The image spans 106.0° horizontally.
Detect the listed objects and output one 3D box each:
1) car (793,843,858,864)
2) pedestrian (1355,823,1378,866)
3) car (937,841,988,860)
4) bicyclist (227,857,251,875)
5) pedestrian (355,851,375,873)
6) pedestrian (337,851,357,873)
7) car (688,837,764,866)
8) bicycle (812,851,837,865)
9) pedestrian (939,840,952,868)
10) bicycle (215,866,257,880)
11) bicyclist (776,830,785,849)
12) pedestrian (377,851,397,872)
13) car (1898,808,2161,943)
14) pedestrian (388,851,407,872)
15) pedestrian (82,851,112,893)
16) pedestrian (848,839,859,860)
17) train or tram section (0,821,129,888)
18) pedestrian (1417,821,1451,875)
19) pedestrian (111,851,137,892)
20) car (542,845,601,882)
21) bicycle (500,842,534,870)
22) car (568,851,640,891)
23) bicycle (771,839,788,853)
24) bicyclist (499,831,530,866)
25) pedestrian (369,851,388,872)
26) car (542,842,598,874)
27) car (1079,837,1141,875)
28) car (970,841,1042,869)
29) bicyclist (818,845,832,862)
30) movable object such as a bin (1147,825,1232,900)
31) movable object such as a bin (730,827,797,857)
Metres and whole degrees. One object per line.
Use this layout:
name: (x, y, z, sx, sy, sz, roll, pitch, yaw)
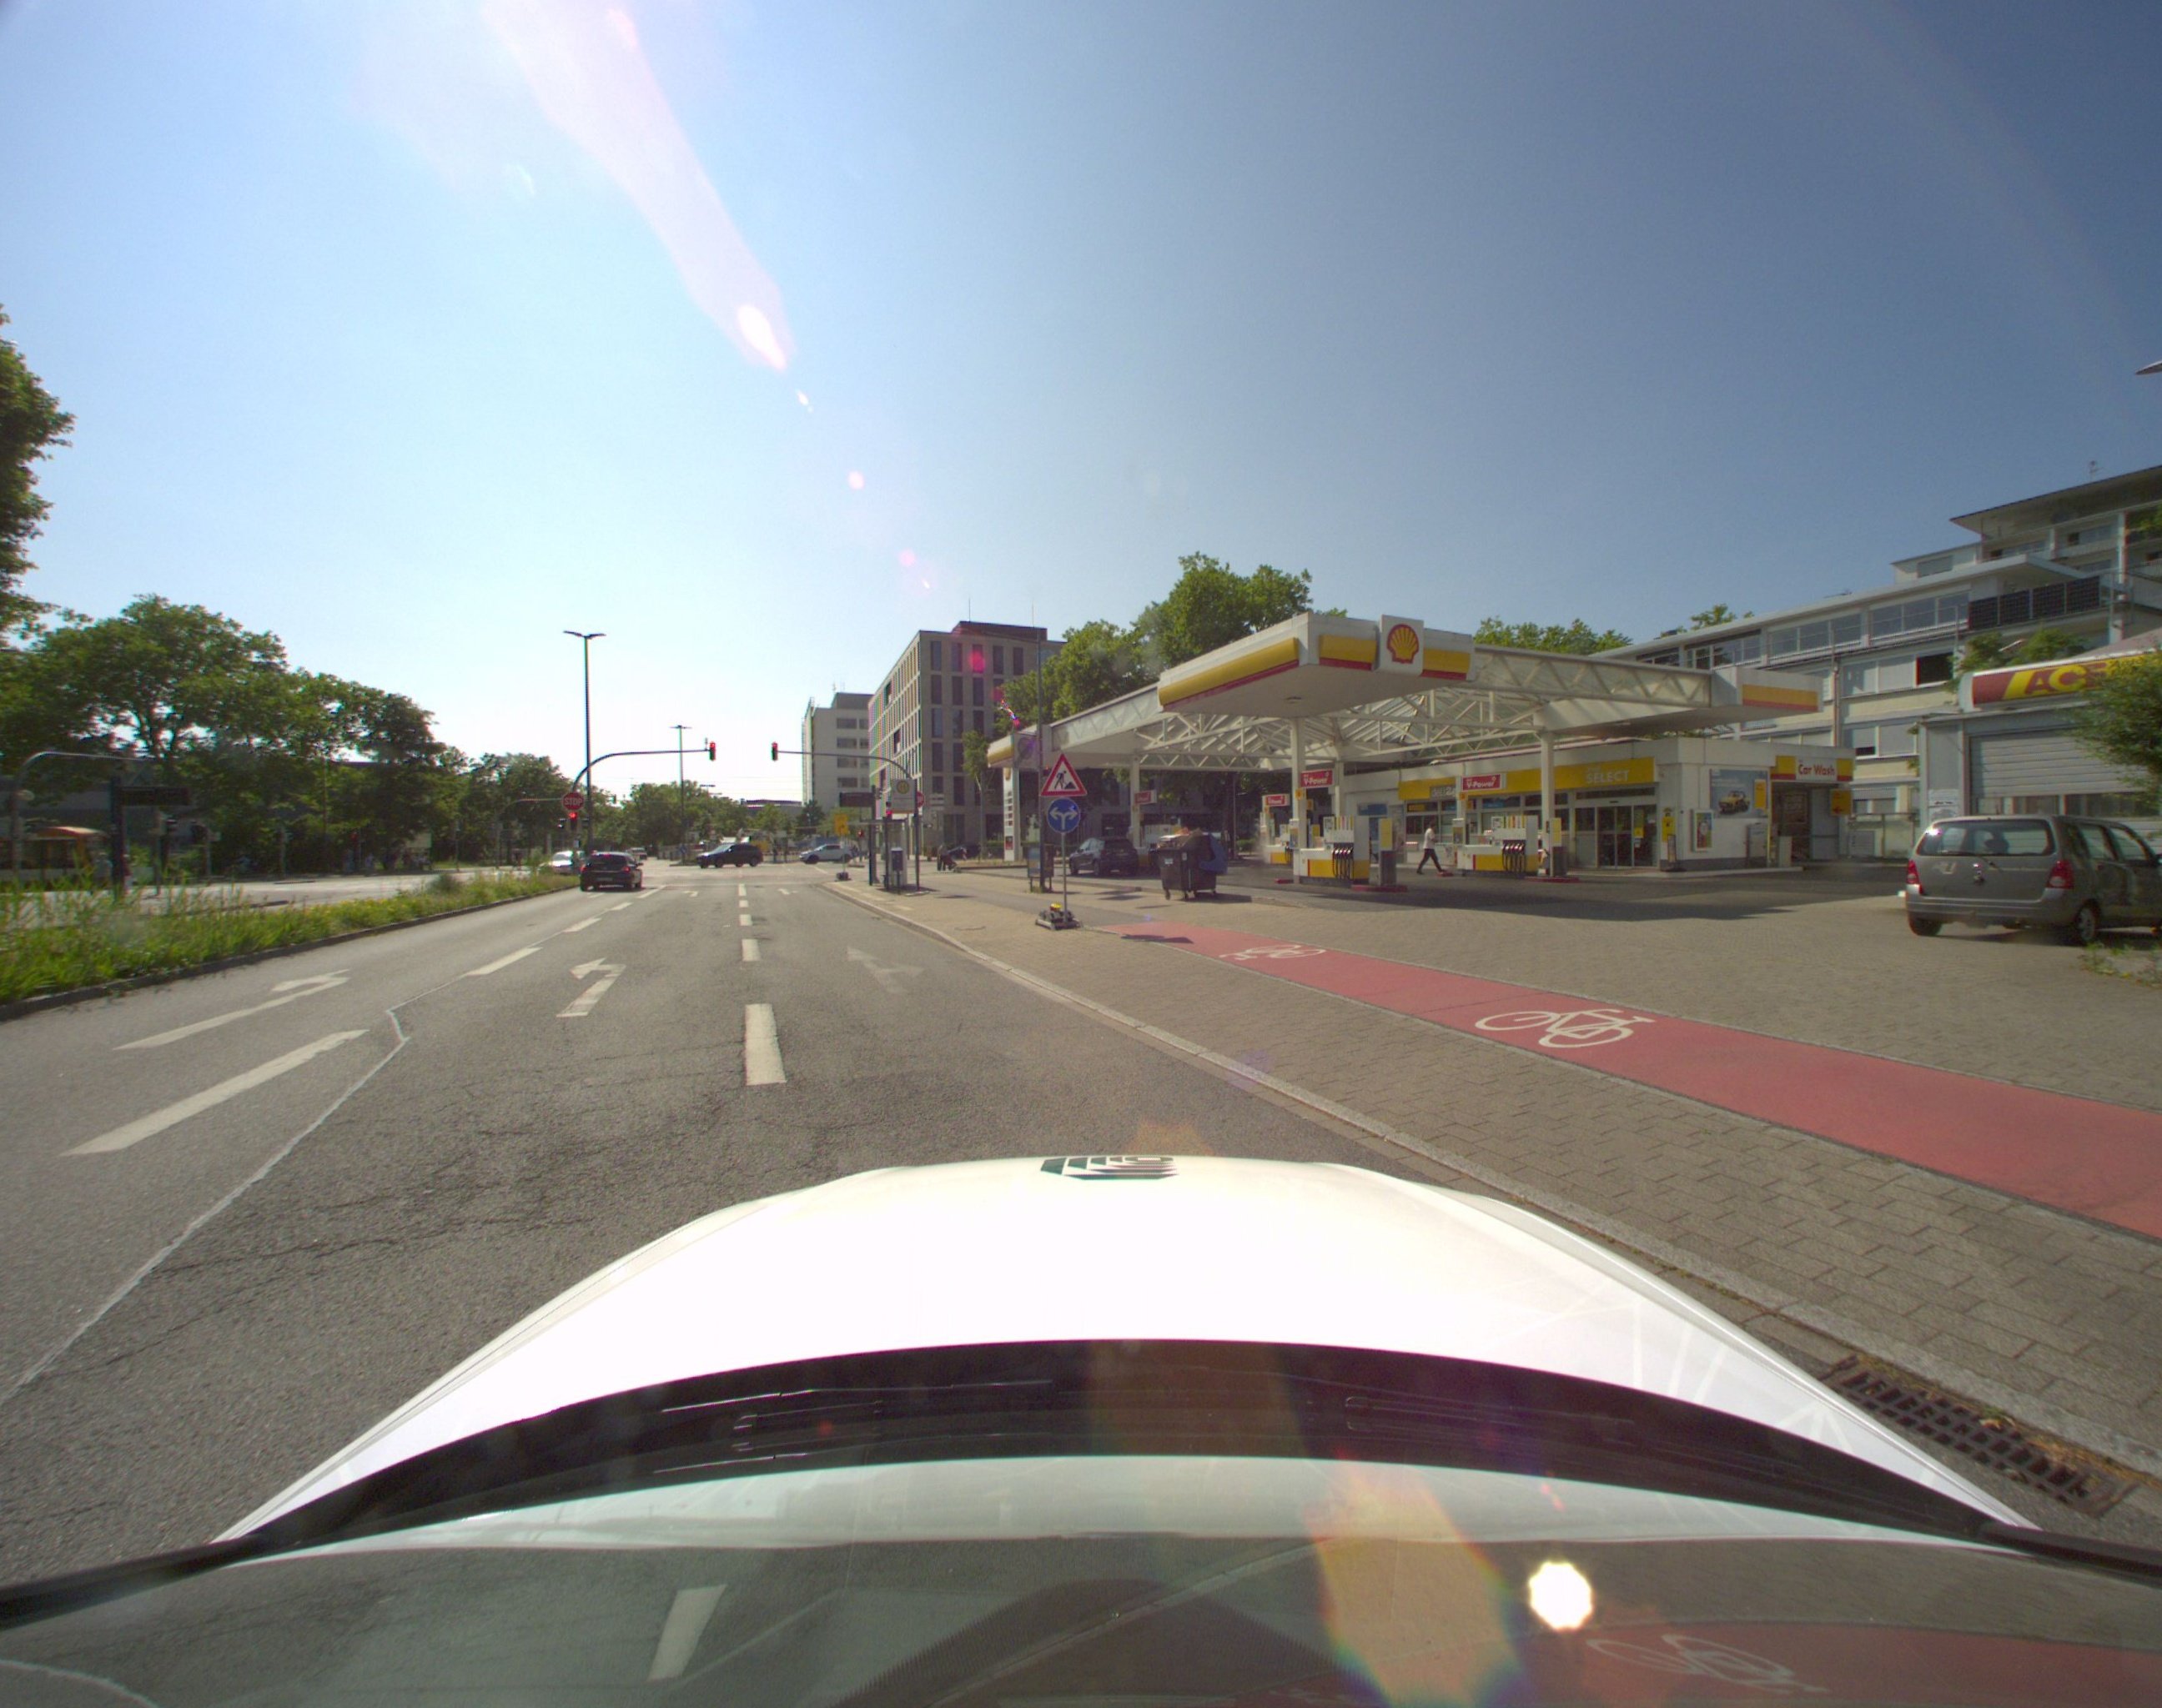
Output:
car: (-21.149, -0.035, 67.397, 4.881, 1.636, 1.982, -1, 1, -28)
pedestrian: (12.289, -0.399, 35.097, 0.674, 1.821, 0.627, -1, 0, -17)
car: (-10.546, -0.307, 72.724, 4.129, 1.638, 1.985, -1, 1, -24)
bicyclist: (-59.213, 0.829, 57.268, 1.056, 1.274, 0.488, -1, 0, -24)
pedestrian: (-54.296, 0.585, 61.771, 0.652, 1.611, 0.942, 0, 0, 0)
pedestrian: (-54.993, 0.605, 61.038, 0.652, 1.611, 0.942, 0, 0, 0)
car: (-26.355, -0.213, 60.694, 1.974, 2.013, 4.901, 0, 1, 33)
bicycle: (-24.945, 0.389, 79.210, 2.233, 1.285, 0.522, -1, 0, -15)
pedestrian: (-7.637, -0.002, 45.798, 0.621, 1.543, 0.458, -1, 0, -24)
bicycle: (-59.337, 1.346, 57.203, 2.009, 0.883, 0.523, -1, 0, -24)
bicyclist: (-40.451, -1.945, 109.660, 1.072, 2.574, 0.823, 0, 0, -17)
pedestrian: (-52.521, 0.559, 61.663, 0.652, 1.611, 0.942, 0, 0, 0)
car: (13.131, 0.223, 11.071, 3.837, 1.596, 1.578, -1, 0, -24)
pedestrian: (-52.713, 0.553, 62.808, 0.664, 1.611, 0.942, 0, 0, 0)
pedestrian: (-41.593, 0.753, 34.440, 0.664, 1.726, 0.744, -2, 1, -41)
pedestrian: (-22.141, -0.433, 79.205, 0.774, 2.013, 0.778, 0, 0, 6)
train or tram section: (-55.601, 0.029, 42.129, 7.592, 3.331, 3.094, -1, 1, -25)
pedestrian: (12.396, -0.205, 28.582, 0.750, 1.837, 0.848, -1, 0, -45)
pedestrian: (-41.040, 0.743, 34.928, 0.572, 1.726, 0.725, -2, 1, -41)
car: (-24.986, 0.428, 40.068, 2.004, 1.638, 4.357, -1, 1, -27)
bicycle: (-48.428, 0.147, 69.965, 1.606, 2.269, 3.969, -1, 0, -23)
car: (-18.258, 0.597, 31.347, 2.003, 1.398, 3.967, -1, 1, -25)
bicycle: (-40.532, -1.069, 109.625, 2.093, 1.962, 0.823, 0, 0, -17)
bicyclist: (-48.123, -0.486, 69.223, 1.607, 2.931, 2.335, -1, 0, -23)
pedestrian: (-53.534, 0.572, 62.057, 0.652, 1.611, 0.942, 0, 0, 0)
car: (-27.618, 0.198, 44.133, 1.899, 1.610, 4.482, -1, 1, -24)
car: (1.110, 0.066, 32.981, 1.651, 1.398, 3.626, -1, 0, -12)
car: (-4.623, 0.027, 50.244, 4.006, 1.582, 1.829, -2, 1, -25)
bicyclist: (-24.912, -0.057, 79.215, 1.242, 1.673, 0.522, -1, 0, -15)
movable object such as a bin: (2.477, 0.172, 18.676, 1.314, 1.592, 1.384, -4, 2, -26)
movable object such as a bin: (-49.939, -1.876, 128.403, 9.712, 4.549, 3.141, -1, 1, -22)
